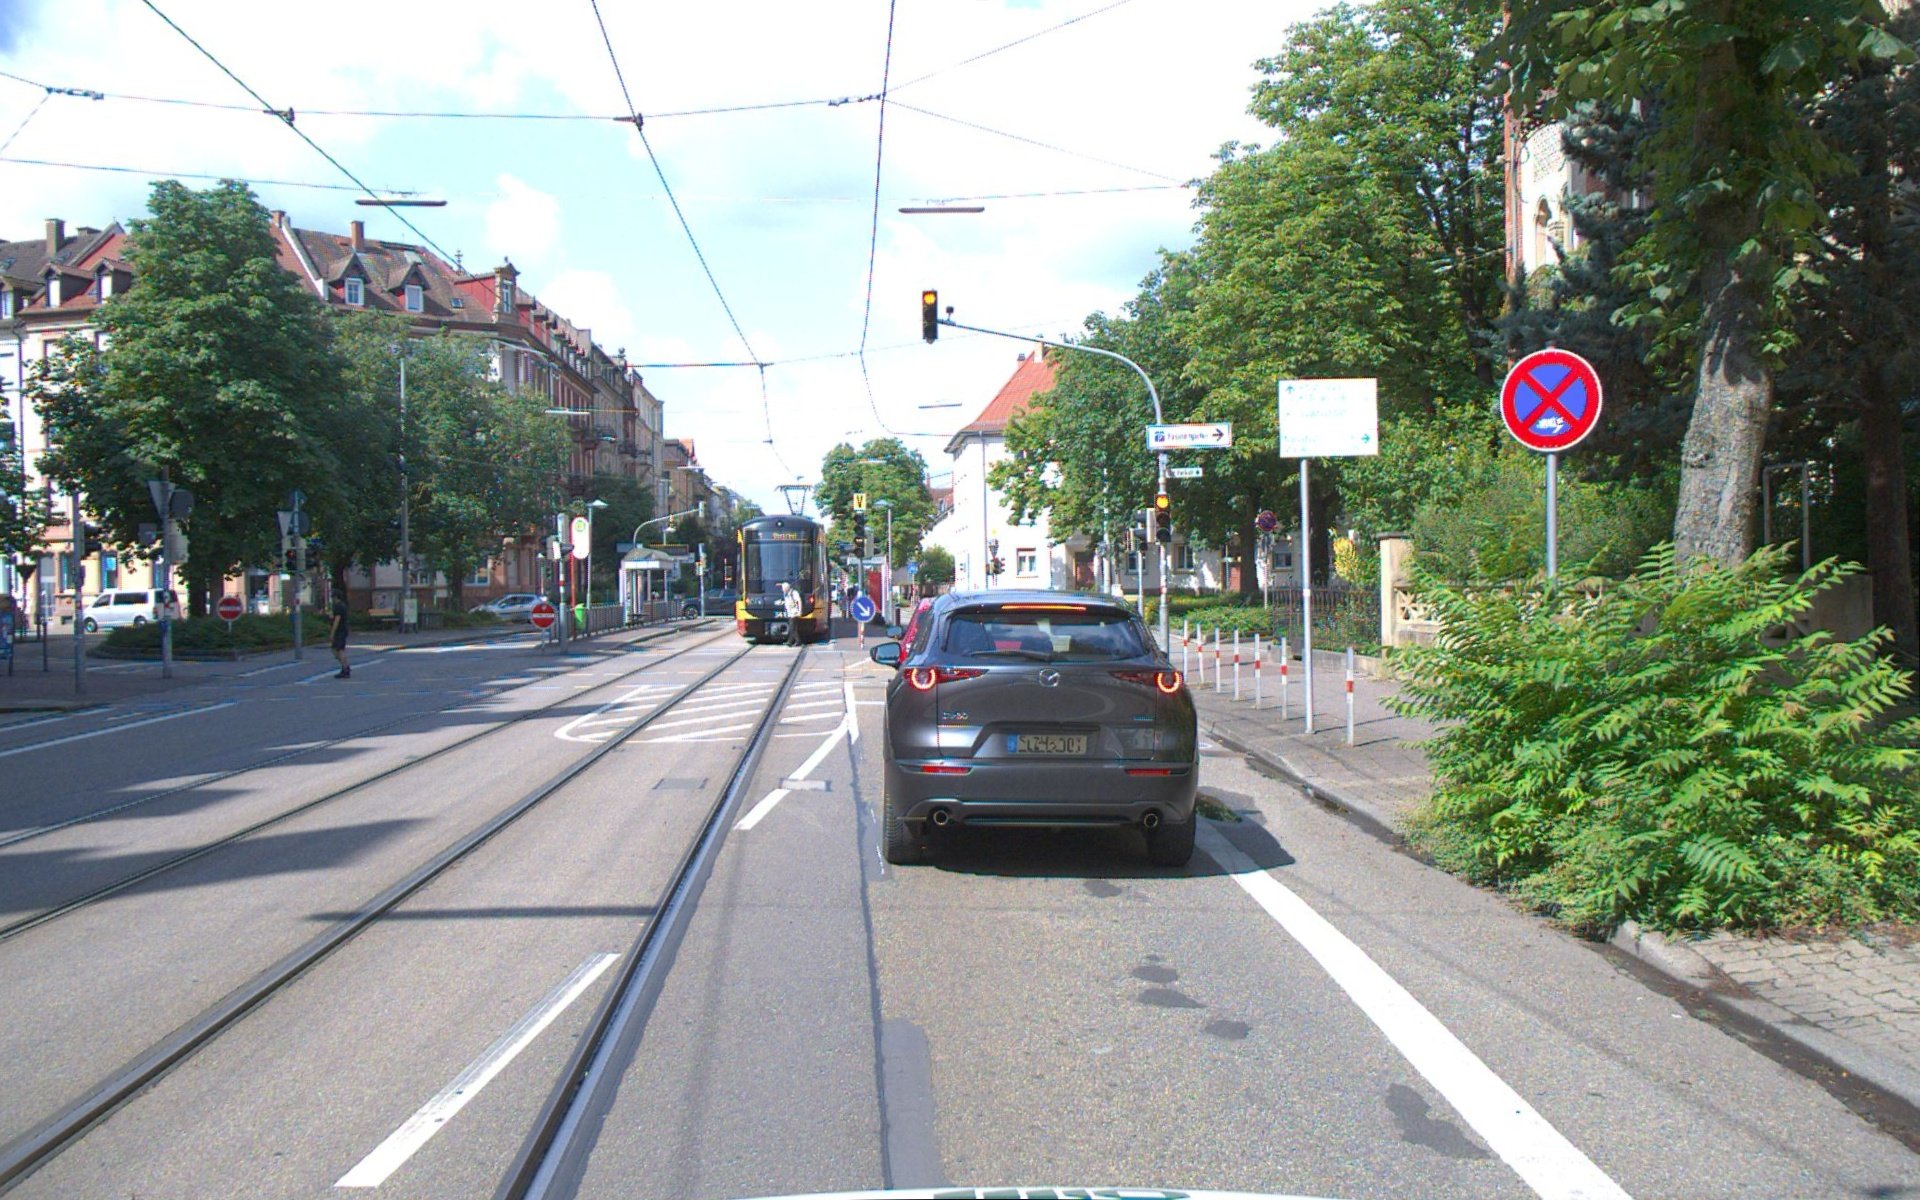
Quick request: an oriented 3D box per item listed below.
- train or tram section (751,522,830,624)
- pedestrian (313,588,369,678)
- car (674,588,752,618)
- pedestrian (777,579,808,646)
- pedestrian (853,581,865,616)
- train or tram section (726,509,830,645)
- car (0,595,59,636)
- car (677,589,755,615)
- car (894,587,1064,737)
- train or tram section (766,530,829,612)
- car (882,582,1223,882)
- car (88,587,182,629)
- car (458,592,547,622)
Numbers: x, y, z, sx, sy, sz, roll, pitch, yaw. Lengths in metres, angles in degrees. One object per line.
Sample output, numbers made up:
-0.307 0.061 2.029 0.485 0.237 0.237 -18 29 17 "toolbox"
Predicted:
-6.569 -1.113 65.554 2.699 3.551 14.395 -1 1 -5 "train or tram section"
-12.018 0.638 32.121 0.735 1.713 0.701 -1 0 8 "pedestrian"
-13.135 0.150 87.769 3.921 1.524 1.672 -1 0 -15 "car"
-4.390 0.315 43.326 0.704 1.735 0.822 -1 0 -11 "pedestrian"
-4.256 -0.083 69.547 0.441 1.459 0.474 -1 0 -6 "pedestrian"
-5.417 -0.785 51.191 2.699 3.551 14.395 -1 1 -5 "train or tram section"
-39.166 0.655 67.260 3.905 1.624 2.000 -1 0 -1 "car"
-13.423 0.094 91.164 3.947 1.384 1.661 -1 0 -31 "car"
0.159 0.624 19.153 1.742 1.526 3.999 1 0 -1 "car"
-7.715 -1.444 79.906 2.699 3.551 14.395 -1 1 -5 "train or tram section"
0.444 0.669 10.550 1.742 1.526 3.999 1 0 -1 "car"
-39.714 0.391 79.606 3.906 1.937 1.999 -1 0 24 "car"
-22.630 0.350 81.864 3.950 1.384 1.659 -1 0 -33 "car"
